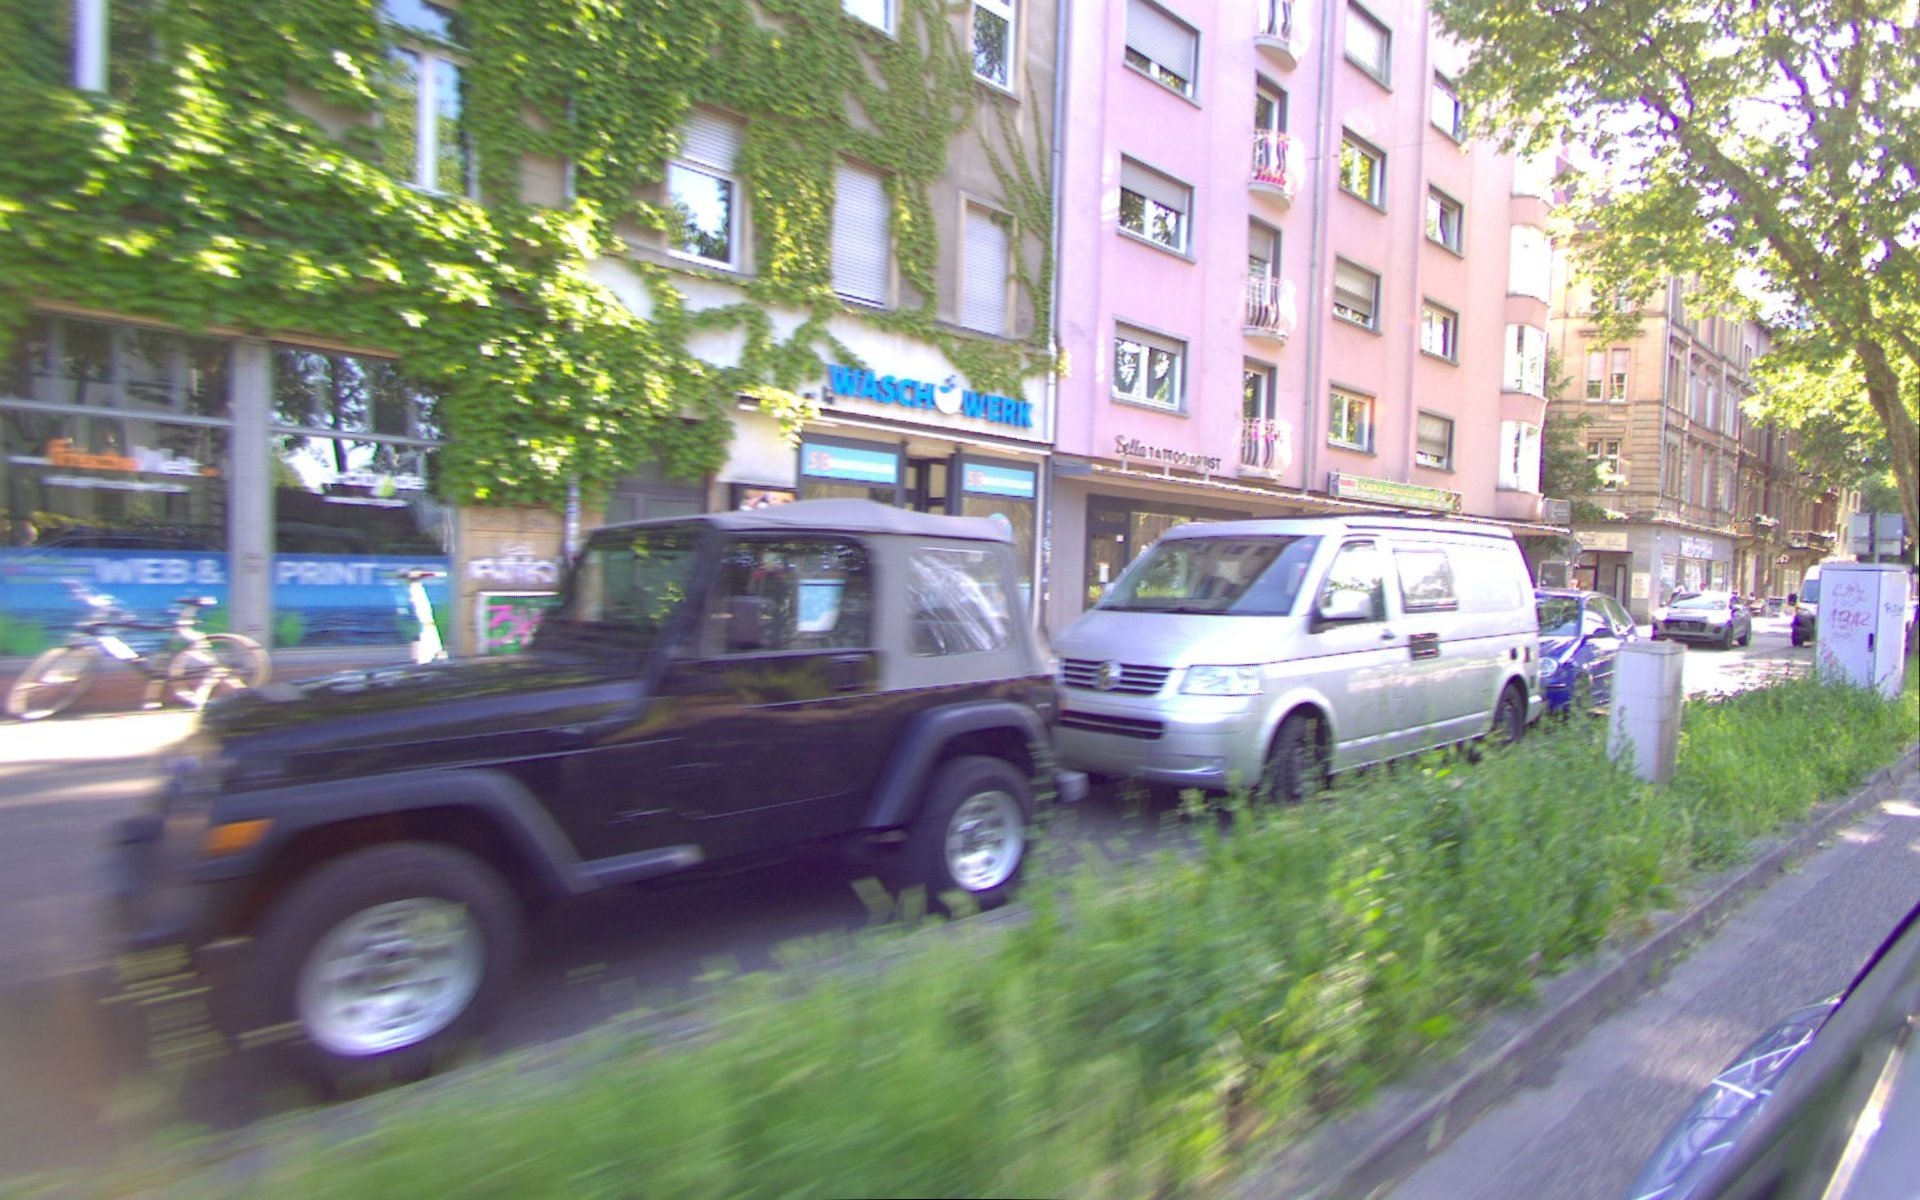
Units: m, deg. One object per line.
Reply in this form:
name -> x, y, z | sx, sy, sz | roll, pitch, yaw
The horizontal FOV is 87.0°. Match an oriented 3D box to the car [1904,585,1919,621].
car -> 41.867, 0.128, 43.309 | 3.931, 1.482, 1.751 | 0, 2, -41

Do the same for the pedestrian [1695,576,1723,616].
pedestrian -> 30.229, -0.170, 40.854 | 0.718, 1.585, 0.737 | 0, 2, -42

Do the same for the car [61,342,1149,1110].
car -> -1.193, 0.253, 4.349 | 3.930, 1.785, 1.868 | 0, 2, -41

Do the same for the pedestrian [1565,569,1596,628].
pedestrian -> 20.029, -0.055, 32.672 | 0.619, 1.838, 0.615 | 0, 2, -39

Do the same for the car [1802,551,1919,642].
car -> 26.997, -0.126, 30.080 | 5.753, 2.464, 2.078 | 0, 1, -41

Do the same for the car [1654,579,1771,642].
car -> 21.278, 0.260, 28.564 | 4.064, 1.621, 1.814 | 0, 2, -41

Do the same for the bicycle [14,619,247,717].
bicycle -> -6.935, 0.540, 8.523 | 1.486, 0.714, 0.469 | 0, 2, -41

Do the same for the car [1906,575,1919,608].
car -> 53.326, -0.463, 55.488 | 3.858, 1.764, 1.713 | 0, 1, -41

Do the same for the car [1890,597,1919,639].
car -> 37.875, 0.688, 39.632 | 4.116, 1.531, 1.648 | 0, 2, -41

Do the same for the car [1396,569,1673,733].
car -> 6.518, 0.454, 11.320 | 3.764, 1.497, 1.592 | 0, 2, -43

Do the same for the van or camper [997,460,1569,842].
van or camper -> 2.753, 0.226, 7.777 | 5.007, 2.038, 1.887 | 0, 2, -42
